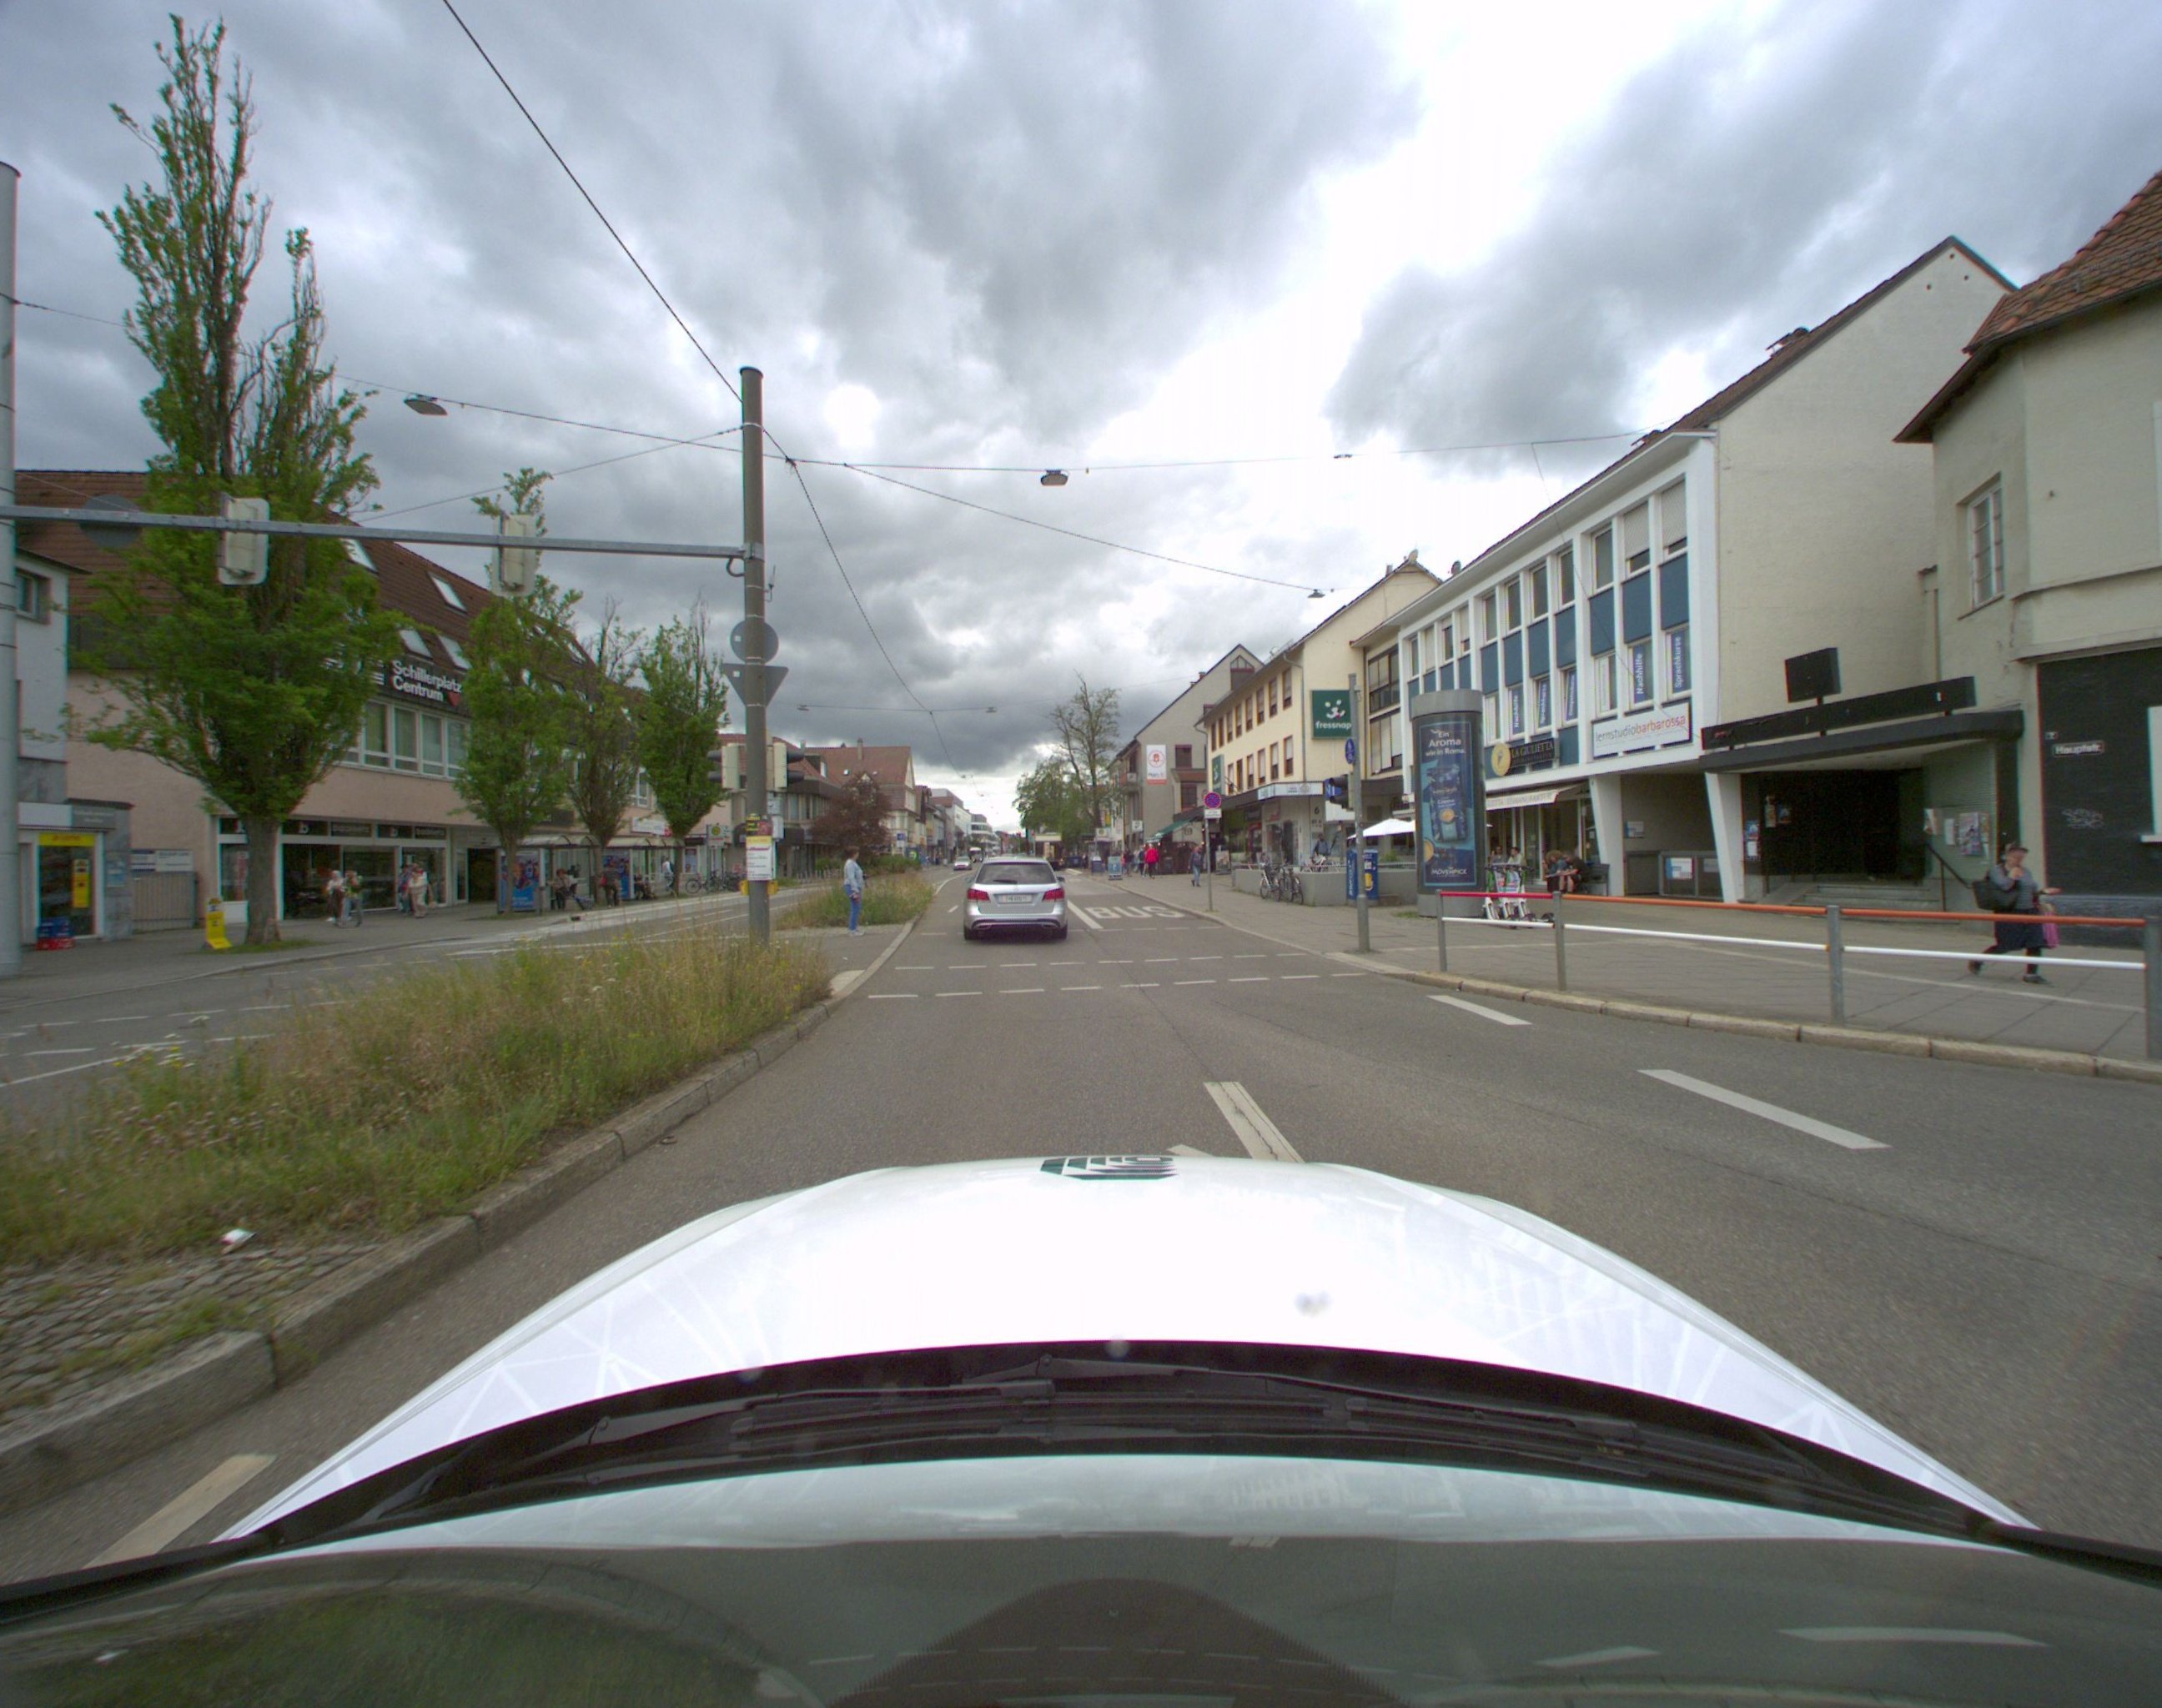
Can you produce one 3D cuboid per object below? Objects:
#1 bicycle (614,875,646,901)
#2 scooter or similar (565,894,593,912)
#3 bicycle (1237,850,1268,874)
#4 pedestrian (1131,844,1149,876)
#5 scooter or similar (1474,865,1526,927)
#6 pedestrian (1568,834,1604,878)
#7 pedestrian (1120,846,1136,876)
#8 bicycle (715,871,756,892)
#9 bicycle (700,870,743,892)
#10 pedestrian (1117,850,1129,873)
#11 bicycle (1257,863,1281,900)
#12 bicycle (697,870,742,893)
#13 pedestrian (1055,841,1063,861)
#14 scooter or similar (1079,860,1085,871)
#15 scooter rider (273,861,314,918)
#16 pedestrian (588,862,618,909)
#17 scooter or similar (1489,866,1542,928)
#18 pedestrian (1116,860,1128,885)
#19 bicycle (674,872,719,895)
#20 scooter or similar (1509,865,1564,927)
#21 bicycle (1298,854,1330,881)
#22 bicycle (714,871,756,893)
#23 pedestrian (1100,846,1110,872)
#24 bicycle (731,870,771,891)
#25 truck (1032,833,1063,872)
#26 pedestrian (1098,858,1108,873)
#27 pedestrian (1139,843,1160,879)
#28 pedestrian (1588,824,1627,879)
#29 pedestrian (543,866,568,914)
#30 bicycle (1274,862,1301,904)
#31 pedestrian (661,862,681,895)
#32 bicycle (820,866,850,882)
[{"bbox_3d":[-20.194,1.527,36.501,0.533,1.090,1.926,-1,0,-6],"label":"bicycle"},{"bbox_3d":[-18.046,1.767,29.279,0.591,0.601,0.701,-1,0,-5],"label":"scooter or similar"},{"bbox_3d":[8.209,0.368,39.106,0.740,1.062,2.346,-2,0,-6],"label":"bicycle"},{"bbox_3d":[3.252,0.343,44.950,0.682,1.742,0.779,-3,-2,-10],"label":"pedestrian"},{"bbox_3d":[8.131,0.789,15.849,0.314,1.132,1.207,-1,0,-3],"label":"scooter or similar"},{"bbox_3d":[14.313,0.048,23.104,0.612,1.220,0.587,2,0,-6],"label":"pedestrian"},{"bbox_3d":[2.629,0.410,45.839,0.718,1.634,0.613,-2,-1,-7],"label":"pedestrian"},{"bbox_3d":[-19.284,1.509,45.528,2.021,1.090,0.646,-1,0,-15],"label":"bicycle"},{"bbox_3d":[-19.232,1.448,43.627,2.021,1.090,0.646,-1,0,-15],"label":"bicycle"},{"bbox_3d":[3.108,0.546,60.325,0.616,1.634,0.787,-1,1,-26],"label":"pedestrian"},{"bbox_3d":[5.356,0.771,23.261,0.273,0.974,1.386,-1,0,-3],"label":"bicycle"},{"bbox_3d":[-18.914,1.439,42.598,2.017,1.090,0.647,-1,0,-10],"label":"bicycle"},{"bbox_3d":[-1.992,-0.255,74.353,0.612,1.780,0.586,-2,-1,-8],"label":"pedestrian"},{"bbox_3d":[0.097,0.971,68.312,0.351,0.959,0.387,-2,0,44],"label":"scooter or similar"},{"bbox_3d":[-23.901,1.071,24.723,0.612,1.712,0.586,2,0,-8],"label":"scooter rider"},{"bbox_3d":[-17.269,1.134,29.433,0.583,1.652,0.715,0,0,5],"label":"pedestrian"},{"bbox_3d":[8.475,0.809,15.910,0.314,1.132,1.207,-1,0,-3],"label":"scooter or similar"},{"bbox_3d":[2.696,1.212,53.347,0.667,1.567,0.494,0,1,15],"label":"pedestrian"},{"bbox_3d":[-19.635,1.511,41.604,2.024,1.090,0.645,0,0,-19],"label":"bicycle"},{"bbox_3d":[8.876,0.798,15.901,0.314,1.132,1.207,-1,0,-3],"label":"scooter or similar"},{"bbox_3d":[8.701,0.485,30.471,0.275,0.974,1.375,-1,0,-27],"label":"bicycle"},{"bbox_3d":[-19.051,1.535,44.853,2.021,1.090,0.646,-1,0,-15],"label":"bicycle"},{"bbox_3d":[1.940,0.413,65.343,0.609,2.047,0.589,-3,-1,9],"label":"pedestrian"},{"bbox_3d":[-18.793,1.517,46.464,2.021,1.090,0.646,-1,0,-15],"label":"bicycle"},{"bbox_3d":[-3.383,-0.136,79.754,2.684,3.561,9.751,-1,0,-4],"label":"truck"},{"bbox_3d":[1.691,0.879,62.731,0.712,1.166,0.586,0,0,-11],"label":"pedestrian"},{"bbox_3d":[3.434,0.359,40.914,0.795,1.742,0.779,-3,-2,-10],"label":"pedestrian"},{"bbox_3d":[14.321,-0.076,22.159,0.612,1.460,0.587,2,0,-6],"label":"pedestrian"},{"bbox_3d":[-18.551,1.267,28.754,0.588,1.652,0.708,-1,0,-23],"label":"pedestrian"},{"bbox_3d":[5.514,0.768,21.779,0.273,1.053,1.386,-1,0,-3],"label":"bicycle"},{"bbox_3d":[-22.881,1.363,45.439,0.725,1.764,0.754,2,0,-7],"label":"pedestrian"},{"bbox_3d":[-18.119,1.453,60.020,2.021,1.090,0.646,-1,0,-15],"label":"bicycle"}]
